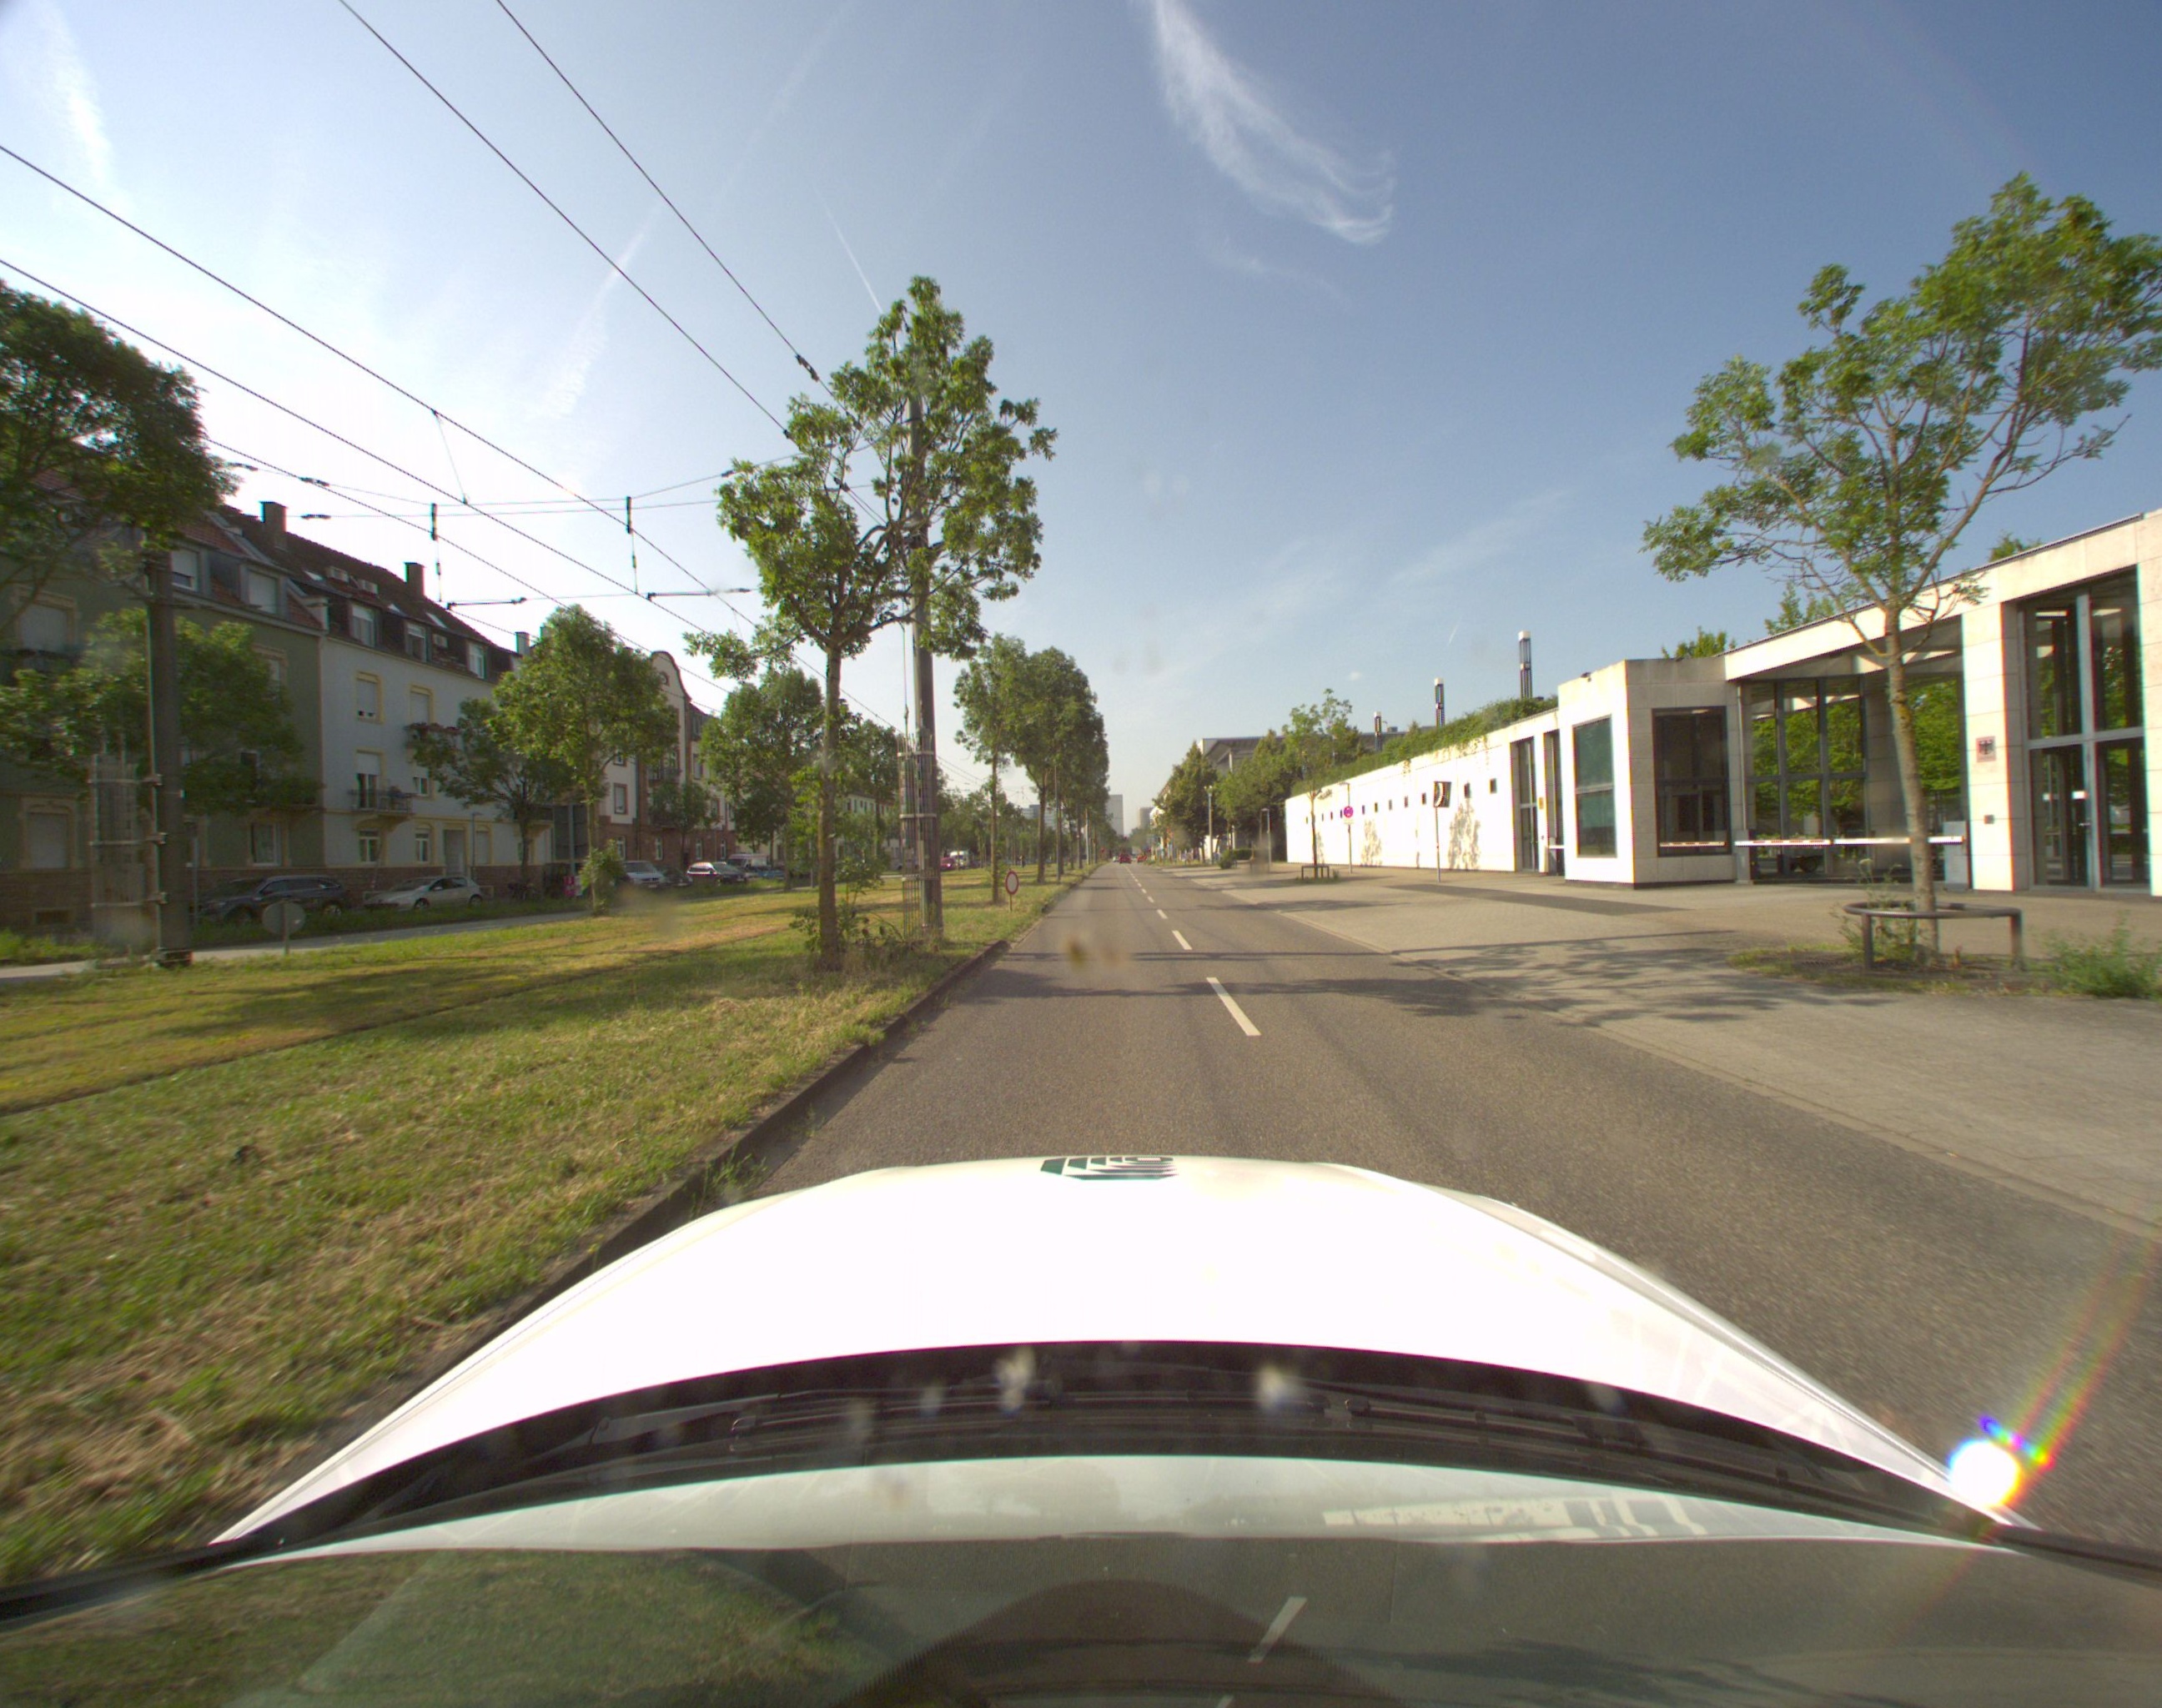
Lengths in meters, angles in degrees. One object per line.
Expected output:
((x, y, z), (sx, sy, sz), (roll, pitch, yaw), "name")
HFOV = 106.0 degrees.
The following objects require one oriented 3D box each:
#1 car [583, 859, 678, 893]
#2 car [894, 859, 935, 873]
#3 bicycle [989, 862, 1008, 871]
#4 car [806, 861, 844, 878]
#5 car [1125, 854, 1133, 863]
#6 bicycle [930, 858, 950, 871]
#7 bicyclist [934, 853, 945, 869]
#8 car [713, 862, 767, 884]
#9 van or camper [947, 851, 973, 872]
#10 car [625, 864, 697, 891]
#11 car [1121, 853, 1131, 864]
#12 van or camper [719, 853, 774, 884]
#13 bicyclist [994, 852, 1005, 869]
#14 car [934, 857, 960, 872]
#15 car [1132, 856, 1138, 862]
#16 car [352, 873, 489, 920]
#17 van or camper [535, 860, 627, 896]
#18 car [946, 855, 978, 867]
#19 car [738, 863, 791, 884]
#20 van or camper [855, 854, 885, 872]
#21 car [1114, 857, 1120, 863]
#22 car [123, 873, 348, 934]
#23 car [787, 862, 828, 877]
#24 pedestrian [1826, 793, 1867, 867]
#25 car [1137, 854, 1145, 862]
((-23.363, 1.091, 42.174), (5.155, 1.623, 2.070), (0, -1, 32), "car")
((-21.245, 1.485, 103.860), (5.258, 1.738, 2.013), (0, -1, 36), "car")
((-9.162, 1.395, 90.814), (2.067, 1.042, 0.665), (1, -1, -12), "bicycle")
((-21.802, 1.300, 69.267), (3.124, 1.326, 1.506), (0, -1, 36), "car")
((10.762, 1.016, 181.198), (1.741, 2.014, 3.218), (0, -1, 3), "car")
((-15.469, 1.159, 89.414), (2.071, 1.324, 0.779), (1, -1, -17), "bicycle")
((-15.541, 0.747, 89.385), (1.150, 1.762, 0.682), (1, -1, -18), "bicyclist")
((-23.320, 1.254, 55.668), (3.948, 1.417, 1.587), (0, -1, 37), "car")
((-15.598, 0.977, 105.139), (2.195, 2.531, 6.032), (0, -1, 2), "van or camper")
((-23.394, 1.275, 45.307), (4.419, 1.419, 1.987), (0, -1, 39), "car")
((8.107, 0.855, 146.804), (1.741, 2.014, 3.218), (0, -1, 3), "car")
((-29.204, 1.209, 71.343), (2.031, 2.567, 6.359), (0, -1, 2), "van or camper")
((-9.065, 0.704, 90.819), (1.147, 1.934, 0.683), (1, -1, -11), "bicyclist")
((-16.100, 1.239, 98.198), (1.955, 1.694, 4.304), (1, -1, 6), "car")
((15.236, 1.418, 231.319), (1.741, 1.650, 3.218), (0, -1, 3), "car")
((-25.868, 1.601, 32.104), (1.882, 1.628, 4.158), (0, 0, 2), "car")
((-24.202, 1.104, 39.338), (4.788, 1.623, 2.015), (0, -1, 35), "van or camper")
((-19.805, 1.182, 135.679), (5.169, 2.014, 1.888), (0, -1, 28), "car")
((-22.568, 1.396, 58.040), (3.948, 1.417, 1.587), (0, -1, 35), "car")
((-28.114, 1.187, 108.743), (1.984, 2.328, 5.834), (0, -1, 4), "van or camper")
((10.760, 1.730, 241.693), (1.741, 1.650, 3.218), (0, -1, 3), "car")
((-26.817, 1.497, 26.137), (1.984, 1.628, 4.780), (0, 0, 4), "car")
((-21.877, 1.219, 65.091), (3.124, 1.161, 1.506), (0, -1, 34), "car")
((19.703, -0.602, 20.955), (0.559, 1.873, 0.588), (1, -3, -36), "pedestrian")
((13.016, 0.902, 177.212), (1.741, 1.650, 3.218), (0, -1, 3), "car")
